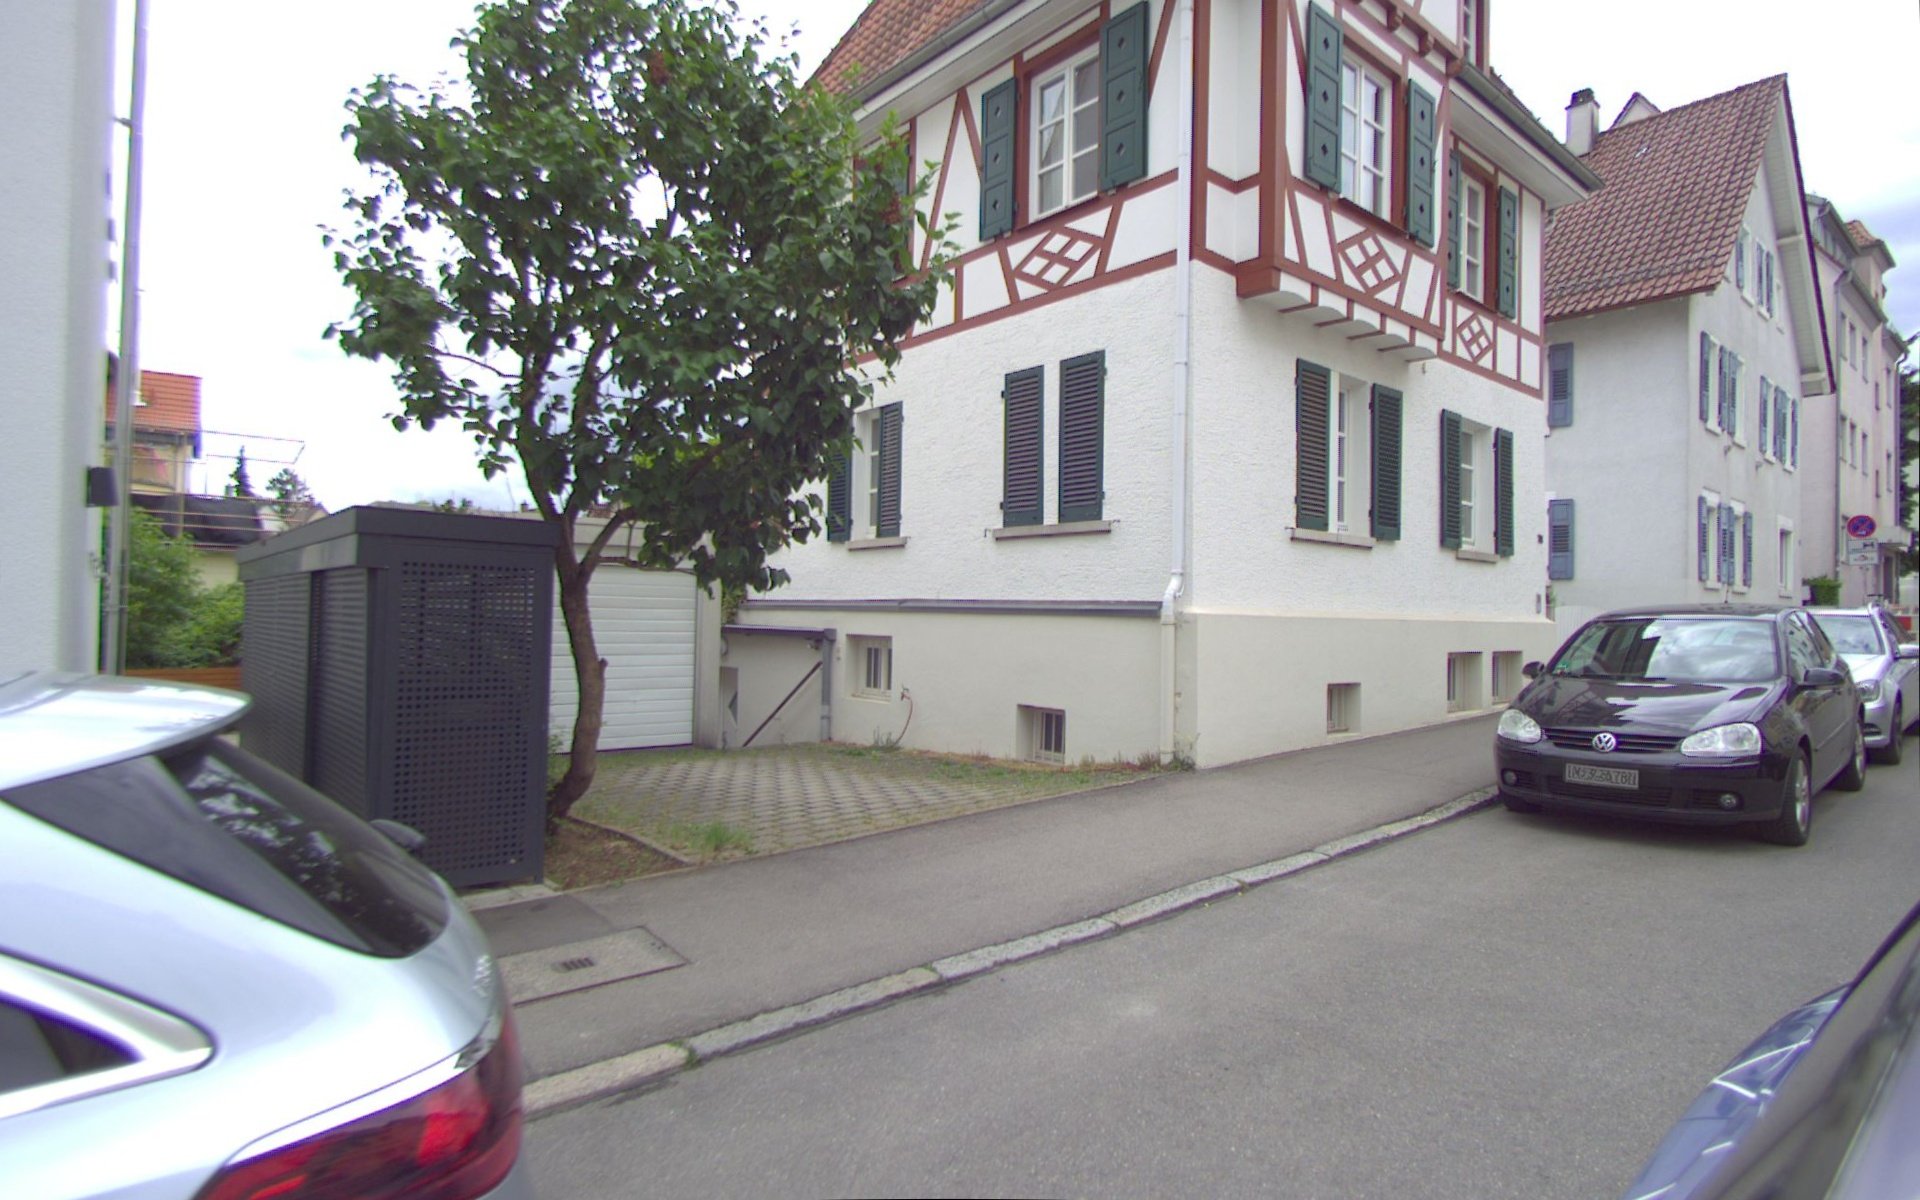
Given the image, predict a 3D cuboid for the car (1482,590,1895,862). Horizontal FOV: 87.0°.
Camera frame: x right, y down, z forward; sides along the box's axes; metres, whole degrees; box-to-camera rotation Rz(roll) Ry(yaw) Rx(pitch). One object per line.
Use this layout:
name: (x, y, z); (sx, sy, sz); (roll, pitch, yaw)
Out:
car: (5.574, 0.704, 7.552); (3.953, 1.508, 1.607); (0, -1, -41)

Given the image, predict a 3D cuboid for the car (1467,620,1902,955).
car: (5.376, 1.050, 7.319); (3.931, 1.743, 1.778); (2, -2, -42)

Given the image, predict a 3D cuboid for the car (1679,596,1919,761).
car: (9.112, 0.681, 10.626); (4.163, 1.411, 1.627); (0, -1, -42)

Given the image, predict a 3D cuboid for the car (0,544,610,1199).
car: (-2.612, 0.706, 0.445); (4.305, 1.463, 1.828); (0, -1, -40)
